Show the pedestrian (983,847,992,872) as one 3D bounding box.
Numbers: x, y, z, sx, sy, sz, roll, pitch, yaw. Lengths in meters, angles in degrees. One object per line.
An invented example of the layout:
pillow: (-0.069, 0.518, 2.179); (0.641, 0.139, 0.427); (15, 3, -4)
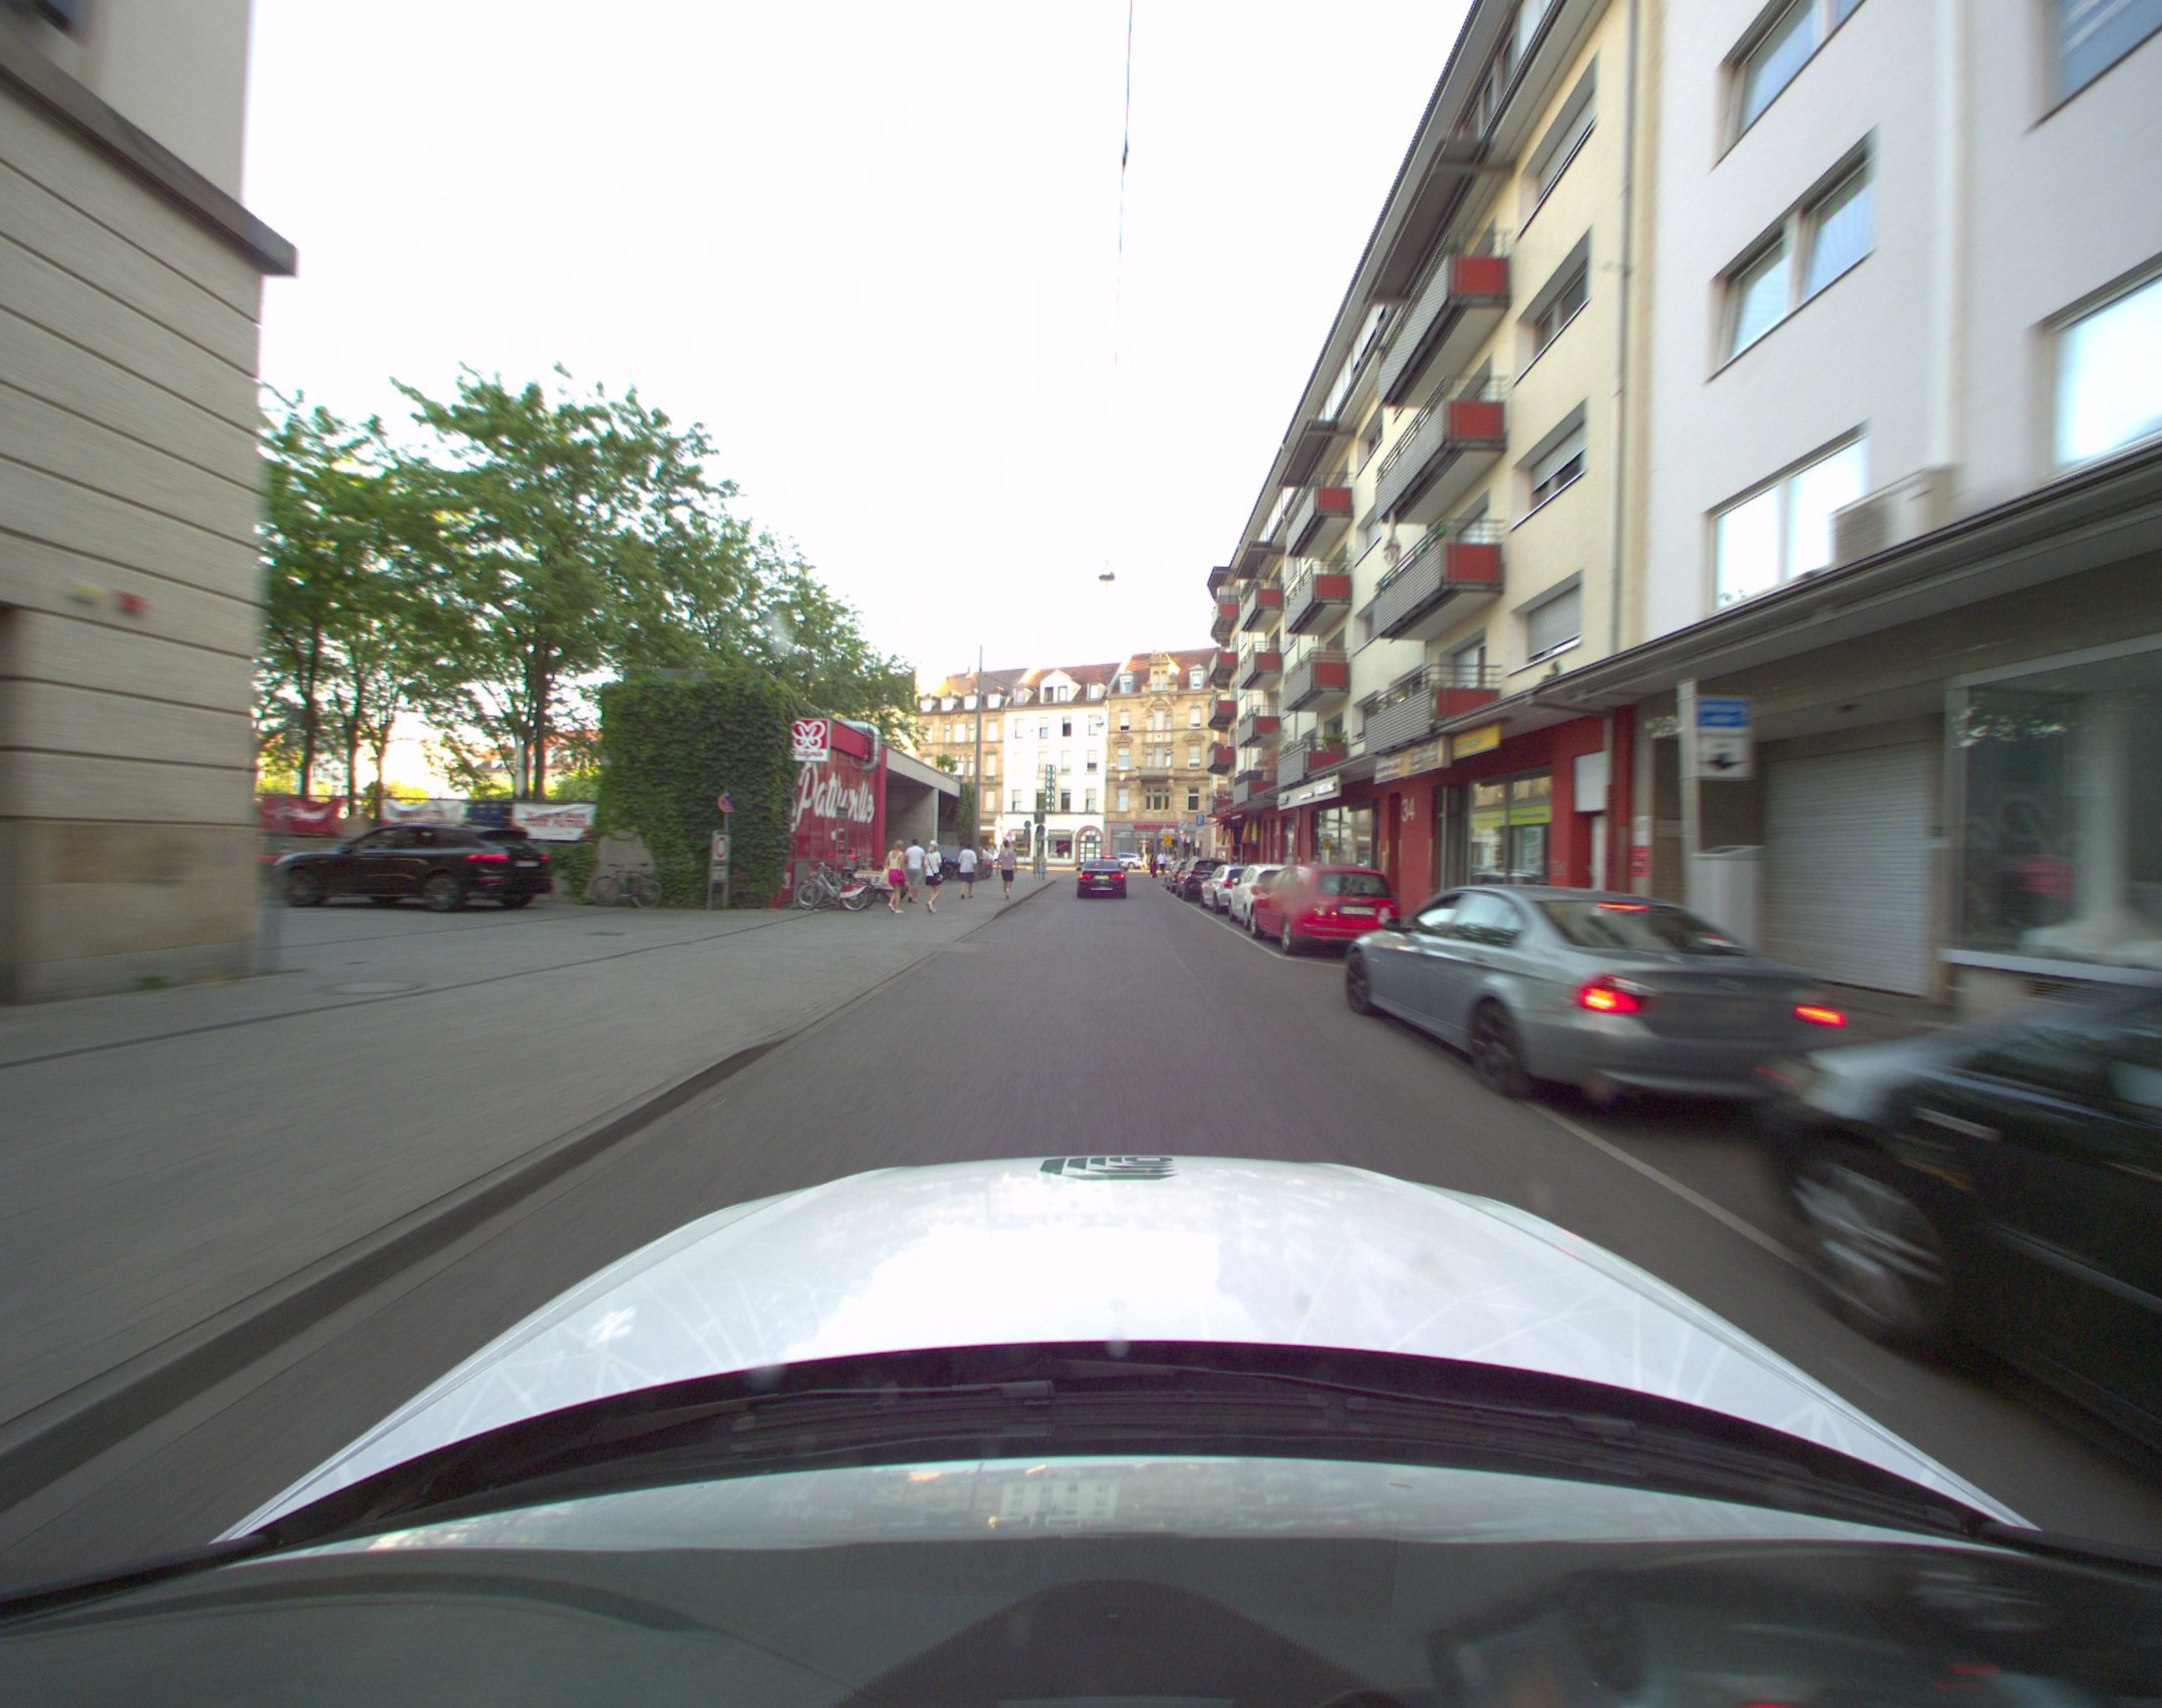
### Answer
pedestrian: (-6.037, 0.365, 52.655); (0.498, 1.643, 0.521); (0, 0, 3)

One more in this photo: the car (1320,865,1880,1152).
car: (3.601, 0.901, 6.908); (1.731, 1.415, 4.682); (3, 0, 0)

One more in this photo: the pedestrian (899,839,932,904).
pedestrian: (-4.608, 0.479, 22.737); (0.714, 1.754, 0.848); (1, 0, 0)

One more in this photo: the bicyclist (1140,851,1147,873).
bicyclist: (5.031, 0.637, 65.670); (0.520, 1.756, 0.621); (2, 0, 9)

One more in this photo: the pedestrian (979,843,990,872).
pedestrian: (-6.341, 0.243, 53.343); (0.580, 1.882, 0.635); (0, 0, 7)

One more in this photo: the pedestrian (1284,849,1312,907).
pedestrian: (6.409, 0.707, 24.056); (0.645, 1.661, 0.656); (-2, 0, 3)

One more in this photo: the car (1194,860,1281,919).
car: (4.588, 0.981, 24.474); (1.693, 1.452, 4.458); (3, 0, 0)

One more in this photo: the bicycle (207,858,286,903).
bicycle: (-17.752, 0.563, 17.338); (1.192, 0.929, 0.495); (1, 0, 4)

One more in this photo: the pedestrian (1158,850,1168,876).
pedestrian: (5.632, 0.613, 55.932); (0.600, 1.746, 0.672); (0, 0, 13)

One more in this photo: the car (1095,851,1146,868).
car: (3.640, 0.521, 75.112); (4.313, 1.562, 1.879); (0, -1, 24)

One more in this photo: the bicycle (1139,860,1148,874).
bicycle: (5.031, 1.025, 65.690); (0.533, 1.107, 1.805); (2, 0, 9)

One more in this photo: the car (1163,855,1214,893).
car: (4.797, 0.843, 36.906); (1.758, 1.502, 4.793); (3, 0, 2)

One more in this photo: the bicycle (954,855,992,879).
bicycle: (-5.359, 0.656, 40.605); (1.789, 1.107, 0.500); (2, 0, -2)

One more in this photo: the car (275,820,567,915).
car: (-13.093, 0.238, 16.360); (4.202, 1.760, 2.069); (0, 0, 3)

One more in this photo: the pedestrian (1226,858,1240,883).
pedestrian: (8.392, 0.888, 45.000); (0.604, 1.348, 0.696); (-1, 0, 0)

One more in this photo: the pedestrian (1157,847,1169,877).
pedestrian: (5.247, 0.520, 52.204); (0.673, 1.877, 0.701); (2, 0, 3)

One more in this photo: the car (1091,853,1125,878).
car: (1.757, 0.684, 51.729); (1.868, 1.473, 4.006); (0, 0, 5)

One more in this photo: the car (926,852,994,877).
car: (-7.303, 0.636, 49.557); (3.983, 1.501, 1.887); (0, 0, -7)

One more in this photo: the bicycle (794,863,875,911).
bicycle: (-5.976, 0.803, 19.820); (1.788, 1.107, 0.500); (1, 0, 1)

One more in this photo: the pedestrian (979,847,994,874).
pedestrian: (-6.296, 0.412, 54.161); (0.665, 1.746, 0.661); (0, 0, 41)

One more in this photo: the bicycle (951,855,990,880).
bicycle: (-5.419, 0.654, 39.902); (1.790, 1.107, 0.499); (2, 0, -4)

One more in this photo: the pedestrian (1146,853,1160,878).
pedestrian: (4.847, 0.761, 54.928); (0.723, 1.609, 0.648); (2, 0, -7)

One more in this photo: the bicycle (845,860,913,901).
bicycle: (-5.804, 0.746, 23.443); (1.786, 1.107, 0.501); (2, 0, 4)

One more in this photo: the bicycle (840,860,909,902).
bicycle: (-5.811, 0.743, 22.973); (1.786, 1.107, 0.501); (2, 0, 4)

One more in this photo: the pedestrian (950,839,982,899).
pedestrian: (-3.611, 0.451, 25.568); (0.738, 1.812, 1.009); (3, 0, 1)

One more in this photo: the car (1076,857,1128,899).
car: (0.829, 0.832, 30.845); (1.758, 1.375, 4.793); (2, 0, 2)

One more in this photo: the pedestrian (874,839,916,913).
pedestrian: (-4.520, 0.522, 19.844); (0.750, 1.749, 0.847); (2, 0, 1)

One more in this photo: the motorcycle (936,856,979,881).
motorcycle: (-5.638, 0.660, 37.127); (1.783, 1.064, 0.769); (2, 0, 27)

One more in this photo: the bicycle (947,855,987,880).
bicycle: (-5.462, 0.650, 39.153); (1.786, 1.107, 0.500); (2, 0, 3)

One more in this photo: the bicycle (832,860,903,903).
bicycle: (-5.847, 0.740, 22.341); (1.786, 1.107, 0.501); (2, 0, 4)

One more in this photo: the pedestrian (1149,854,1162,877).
pedestrian: (4.967, 0.743, 54.262); (0.735, 1.513, 0.648); (2, 0, -7)

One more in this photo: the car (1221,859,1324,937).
car: (4.418, 0.942, 19.297); (1.600, 1.512, 4.051); (3, 0, 3)

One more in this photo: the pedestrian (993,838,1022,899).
pedestrian: (-2.363, 0.451, 26.363); (0.741, 1.893, 1.051); (2, 0, 2)

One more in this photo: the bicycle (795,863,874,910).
bicycle: (-6.094, 0.803, 20.168); (1.788, 1.107, 0.500); (1, 0, 0)

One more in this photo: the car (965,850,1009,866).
car: (-9.414, 0.427, 81.316); (3.951, 1.510, 1.810); (0, -1, 24)

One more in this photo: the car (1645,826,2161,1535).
car: (3.354, 0.789, 1.534); (1.785, 1.609, 4.494); (3, 0, 6)

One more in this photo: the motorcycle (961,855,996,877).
motorcycle: (-5.419, 0.657, 43.161); (1.757, 1.101, 0.561); (2, 0, -33)

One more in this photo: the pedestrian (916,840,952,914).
pedestrian: (-3.582, 0.544, 19.889); (0.646, 1.750, 0.986); (1, 0, 1)

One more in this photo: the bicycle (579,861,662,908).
bicycle: (-10.349, 0.684, 18.317); (1.653, 1.013, 0.371); (1, 0, 2)

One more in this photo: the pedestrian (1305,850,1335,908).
pedestrian: (7.005, 0.712, 23.906); (0.645, 1.661, 0.794); (-2, 0, 3)

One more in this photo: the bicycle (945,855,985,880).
bicycle: (-5.477, 0.654, 38.559); (1.788, 1.107, 0.500); (2, 0, 0)

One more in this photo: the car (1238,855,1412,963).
car: (4.171, 0.847, 14.765); (1.707, 1.512, 4.651); (3, 0, 0)

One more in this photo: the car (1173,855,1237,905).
car: (4.619, 0.922, 31.015); (1.758, 1.642, 4.792); (3, 0, 2)

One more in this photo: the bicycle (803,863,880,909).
bicycle: (-6.081, 0.801, 20.704); (1.788, 1.107, 0.500); (1, 0, 0)

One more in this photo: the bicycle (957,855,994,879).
bicycle: (-5.379, 0.653, 41.548); (1.788, 1.107, 0.500); (2, 0, 1)
